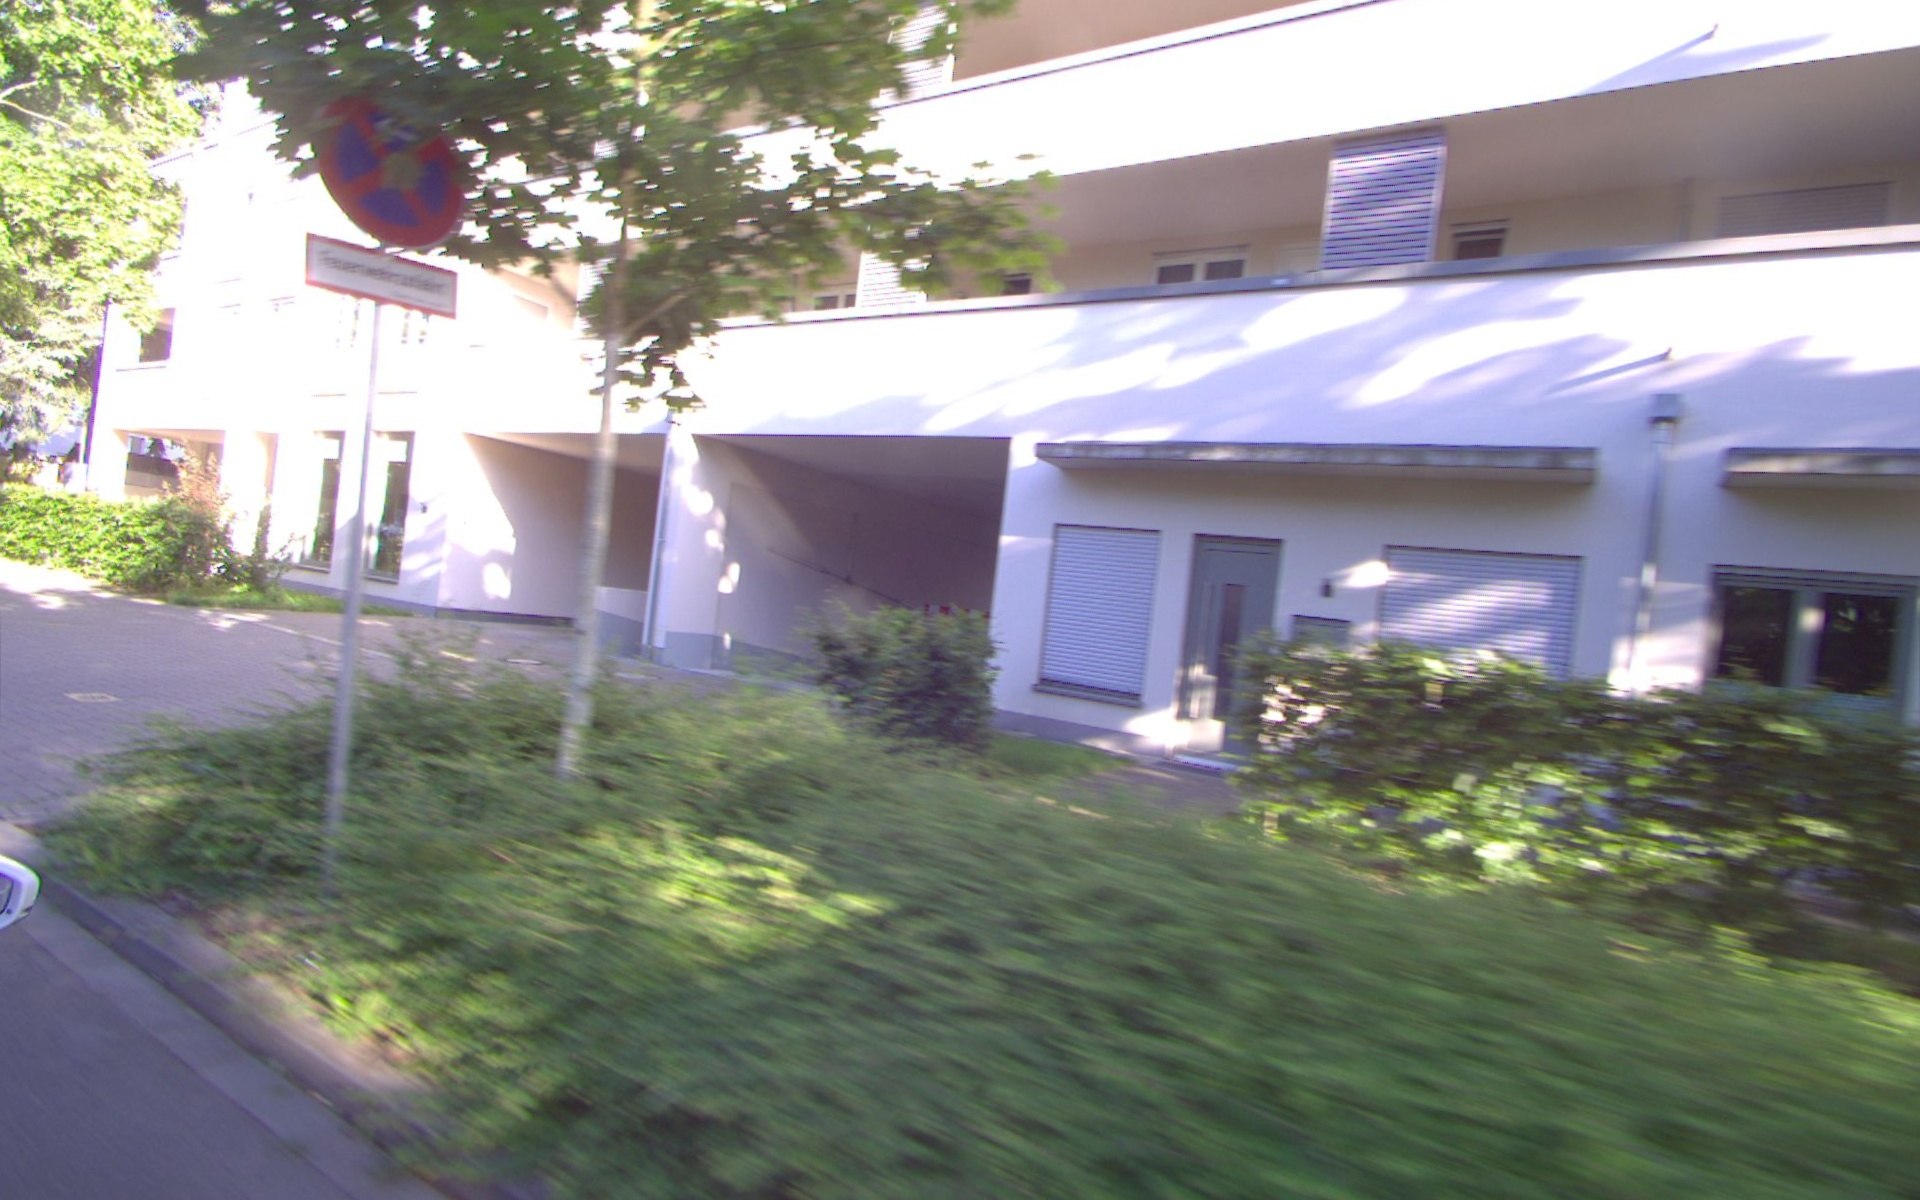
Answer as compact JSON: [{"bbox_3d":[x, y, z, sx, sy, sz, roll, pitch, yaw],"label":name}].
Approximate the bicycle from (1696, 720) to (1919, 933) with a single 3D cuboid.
[{"bbox_3d":[6.228,1.563,6.916,1.724,1.205,0.619,7,-1,32],"label":"bicycle"}]
